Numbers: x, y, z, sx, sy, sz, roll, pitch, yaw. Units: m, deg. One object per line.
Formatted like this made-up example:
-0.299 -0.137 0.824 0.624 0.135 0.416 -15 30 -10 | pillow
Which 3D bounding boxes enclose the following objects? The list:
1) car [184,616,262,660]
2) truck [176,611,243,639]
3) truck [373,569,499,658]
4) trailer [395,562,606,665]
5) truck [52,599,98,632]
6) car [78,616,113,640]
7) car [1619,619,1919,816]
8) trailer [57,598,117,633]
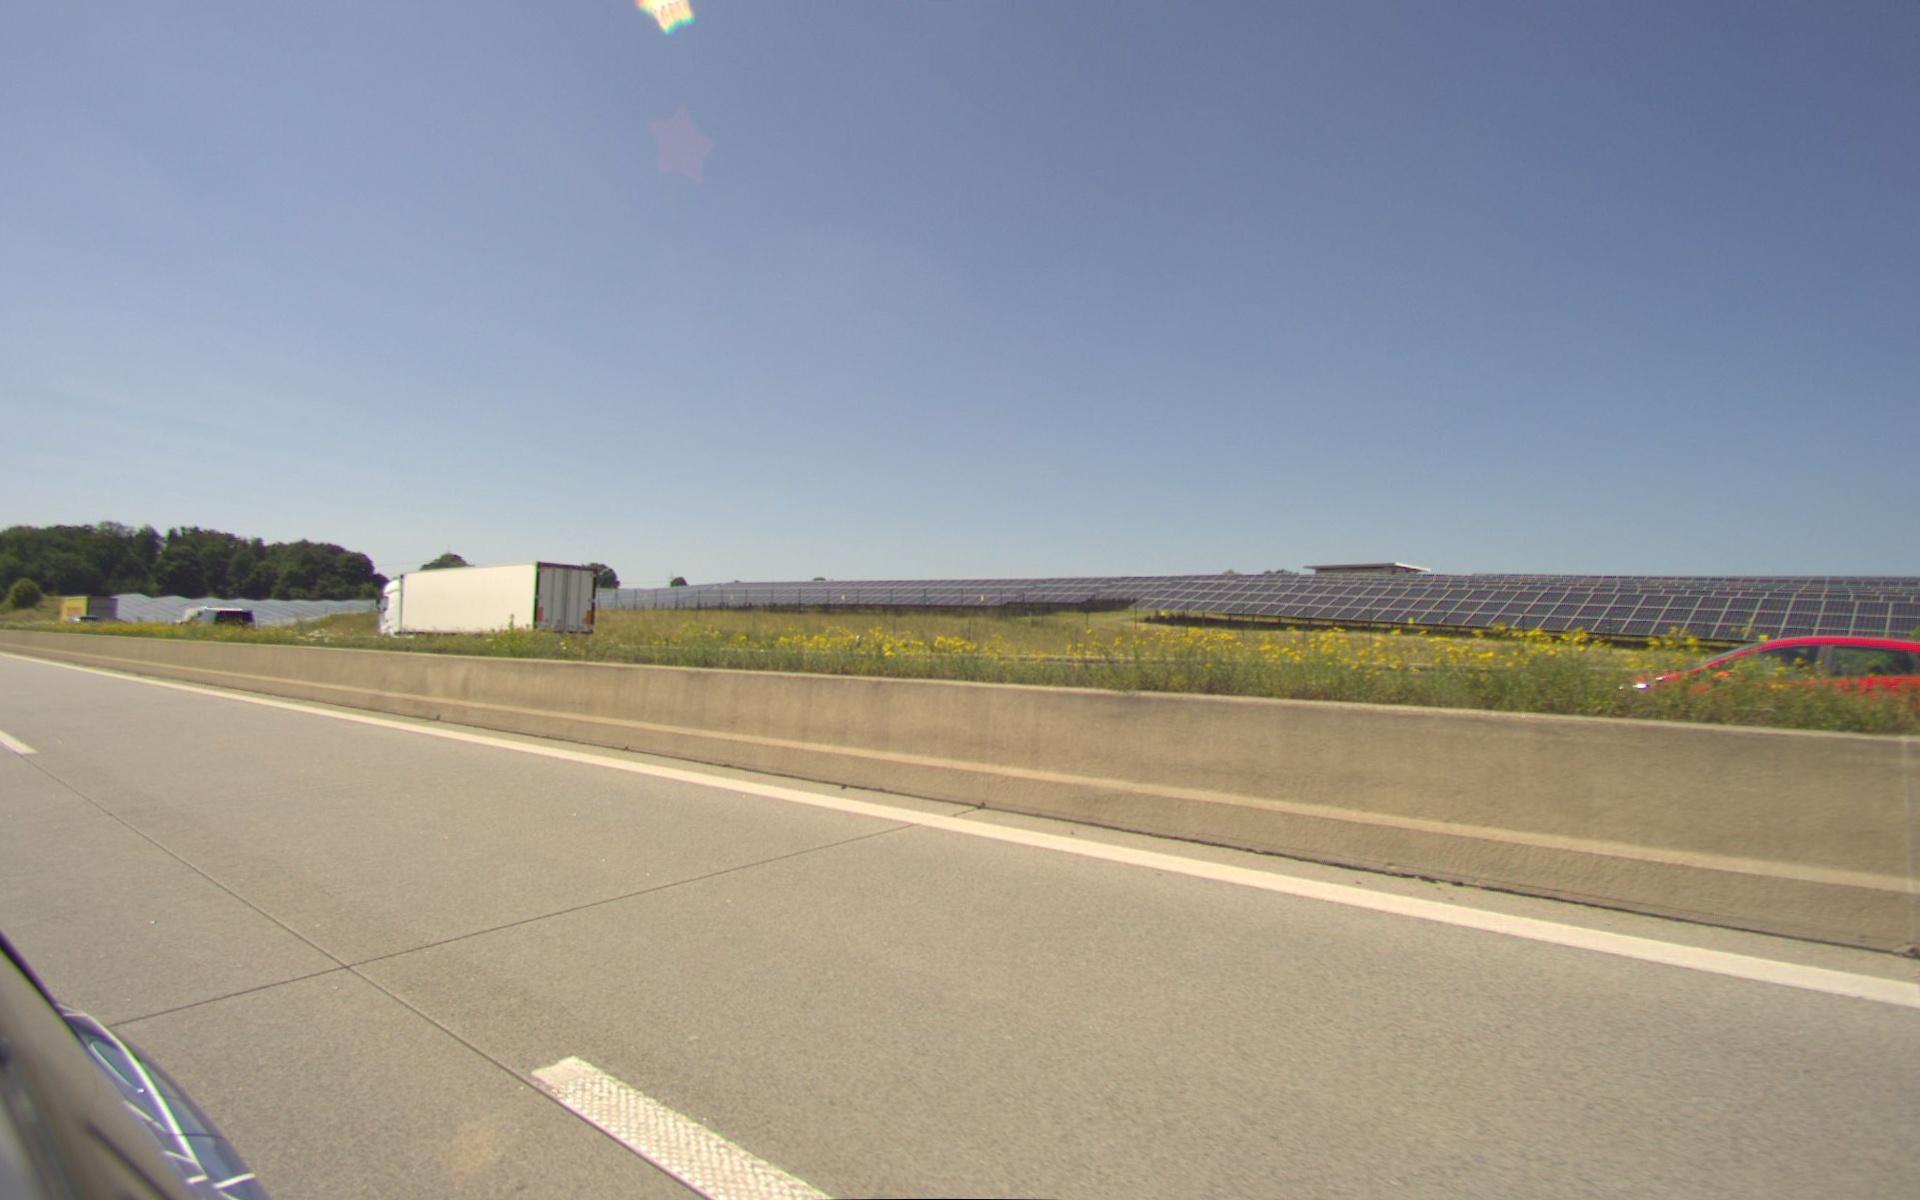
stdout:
-36.633 1.848 50.280 5.028 1.986 2.050 -1 0 41 | car
-56.783 1.850 76.467 7.626 2.029 2.491 -1 0 41 | truck
-25.699 0.637 49.505 7.251 4.035 3.058 -1 0 41 | truck
-20.971 0.583 45.382 14.133 4.035 3.058 -1 0 41 | trailer
-99.701 1.749 114.009 6.344 3.567 2.892 -1 -3 41 | truck
-58.872 1.899 68.894 3.251 1.543 1.310 -1 0 41 | car
10.153 1.253 11.733 3.998 2.029 1.781 -1 0 41 | car
-94.556 1.697 109.524 14.013 3.578 2.901 -1 -3 41 | trailer
